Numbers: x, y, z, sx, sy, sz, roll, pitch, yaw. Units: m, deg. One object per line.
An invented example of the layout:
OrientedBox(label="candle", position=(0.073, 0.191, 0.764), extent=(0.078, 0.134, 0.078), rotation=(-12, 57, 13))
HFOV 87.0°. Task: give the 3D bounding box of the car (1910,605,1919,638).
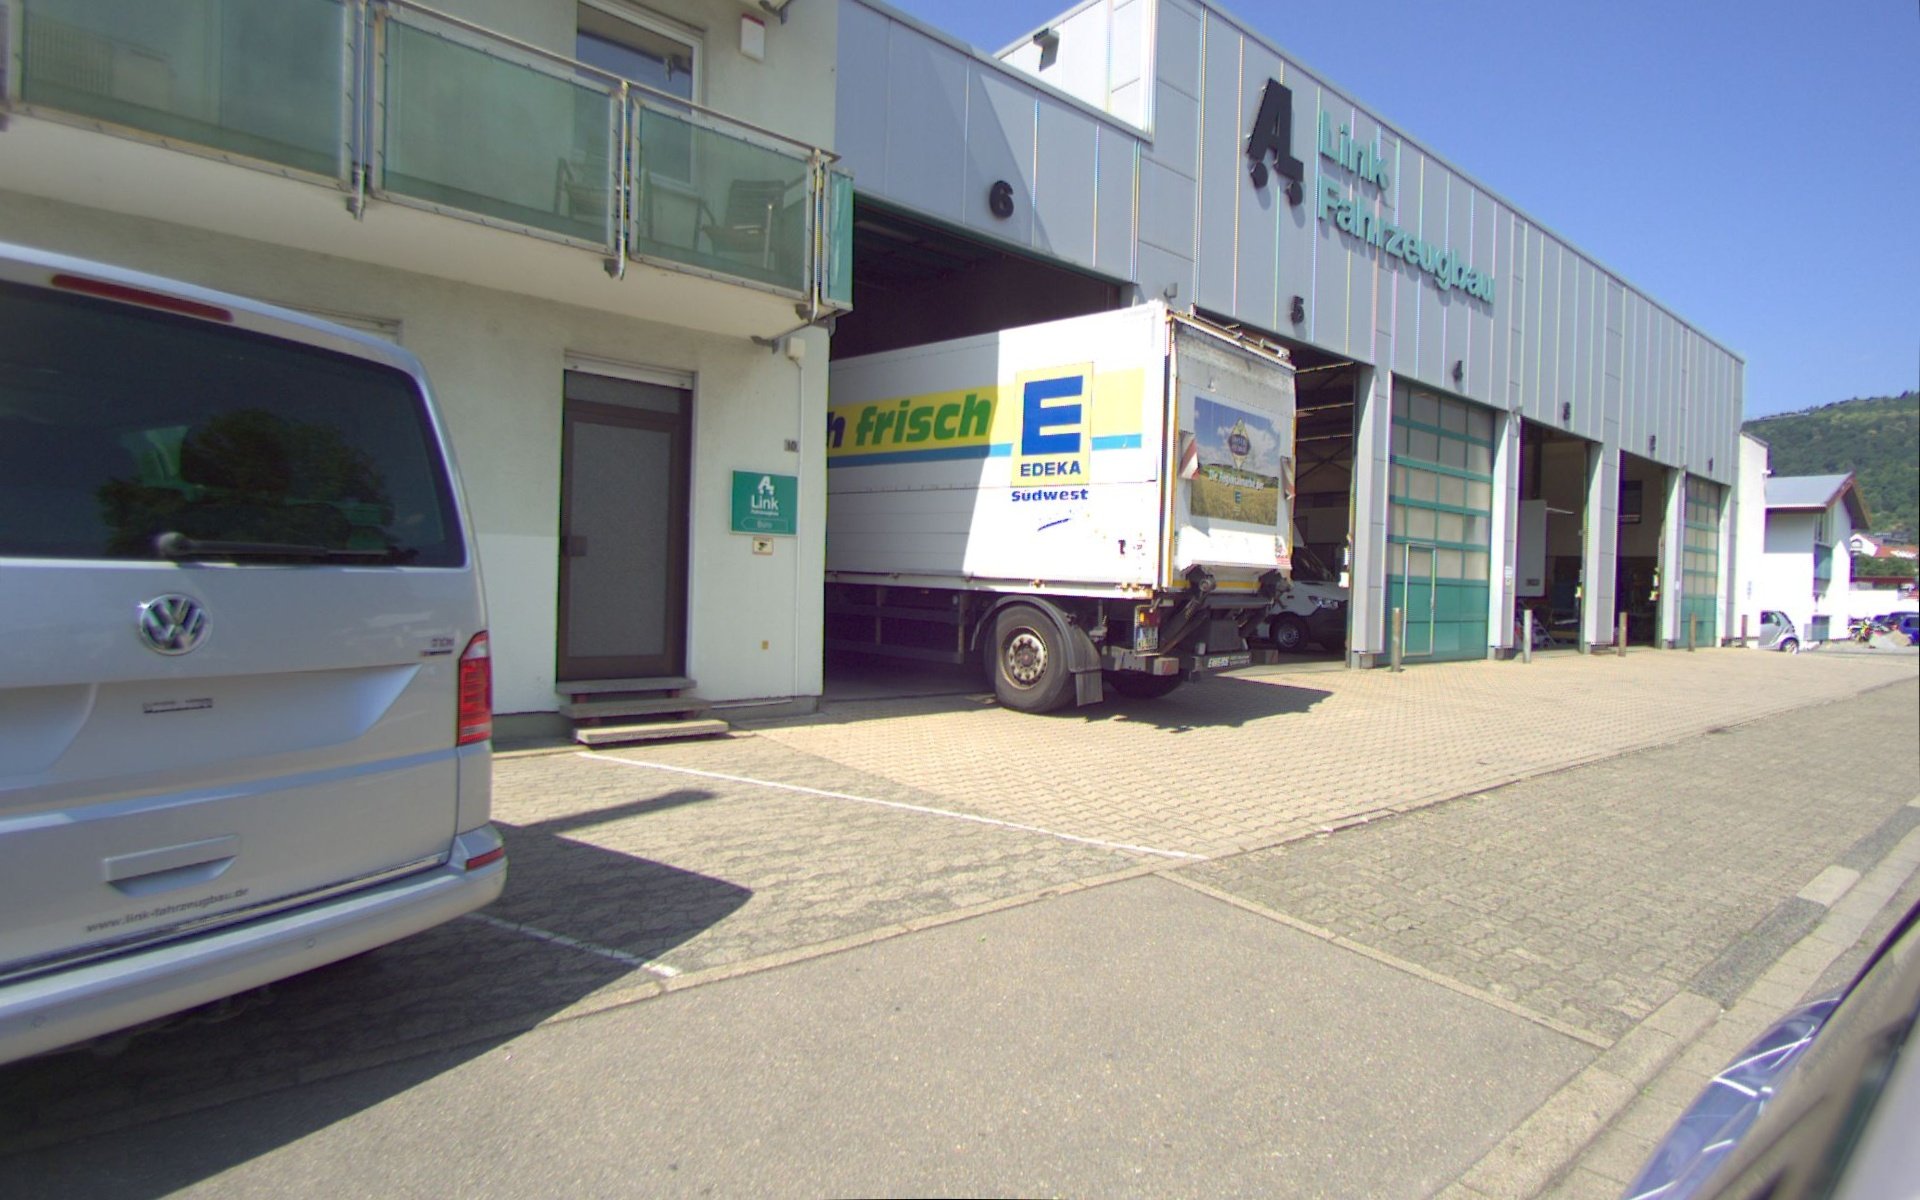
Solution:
OrientedBox(label="car", position=(40.967, 0.935, 41.325), extent=(1.427, 1.356, 2.976), rotation=(1, 2, -39))

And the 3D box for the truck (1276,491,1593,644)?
OrientedBox(label="truck", position=(13.354, -0.979, 29.251), extent=(2.577, 3.828, 7.856), rotation=(1, 2, -39))

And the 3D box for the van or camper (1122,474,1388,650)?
OrientedBox(label="van or camper", position=(6.031, -0.780, 21.245), extent=(1.965, 3.246, 5.051), rotation=(0, 1, -41))

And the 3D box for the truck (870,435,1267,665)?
OrientedBox(label="truck", position=(1.576, -0.919, 19.003), extent=(2.434, 3.446, 7.972), rotation=(1, 2, -38))

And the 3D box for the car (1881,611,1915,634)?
OrientedBox(label="car", position=(60.938, 1.434, 65.727), extent=(3.133, 1.396, 1.450), rotation=(0, 0, -43))

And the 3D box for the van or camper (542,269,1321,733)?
OrientedBox(label="van or camper", position=(-1.539, -1.028, 13.187), extent=(11.602, 3.738, 2.737), rotation=(3, 2, 44))

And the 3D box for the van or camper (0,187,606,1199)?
OrientedBox(label="van or camper", position=(-3.522, 0.102, 3.310), extent=(4.519, 1.931, 1.979), rotation=(3, 1, 30))

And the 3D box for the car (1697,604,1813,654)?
OrientedBox(label="car", position=(26.926, 0.964, 34.320), extent=(2.772, 1.553, 1.311), rotation=(2, 0, 4))
